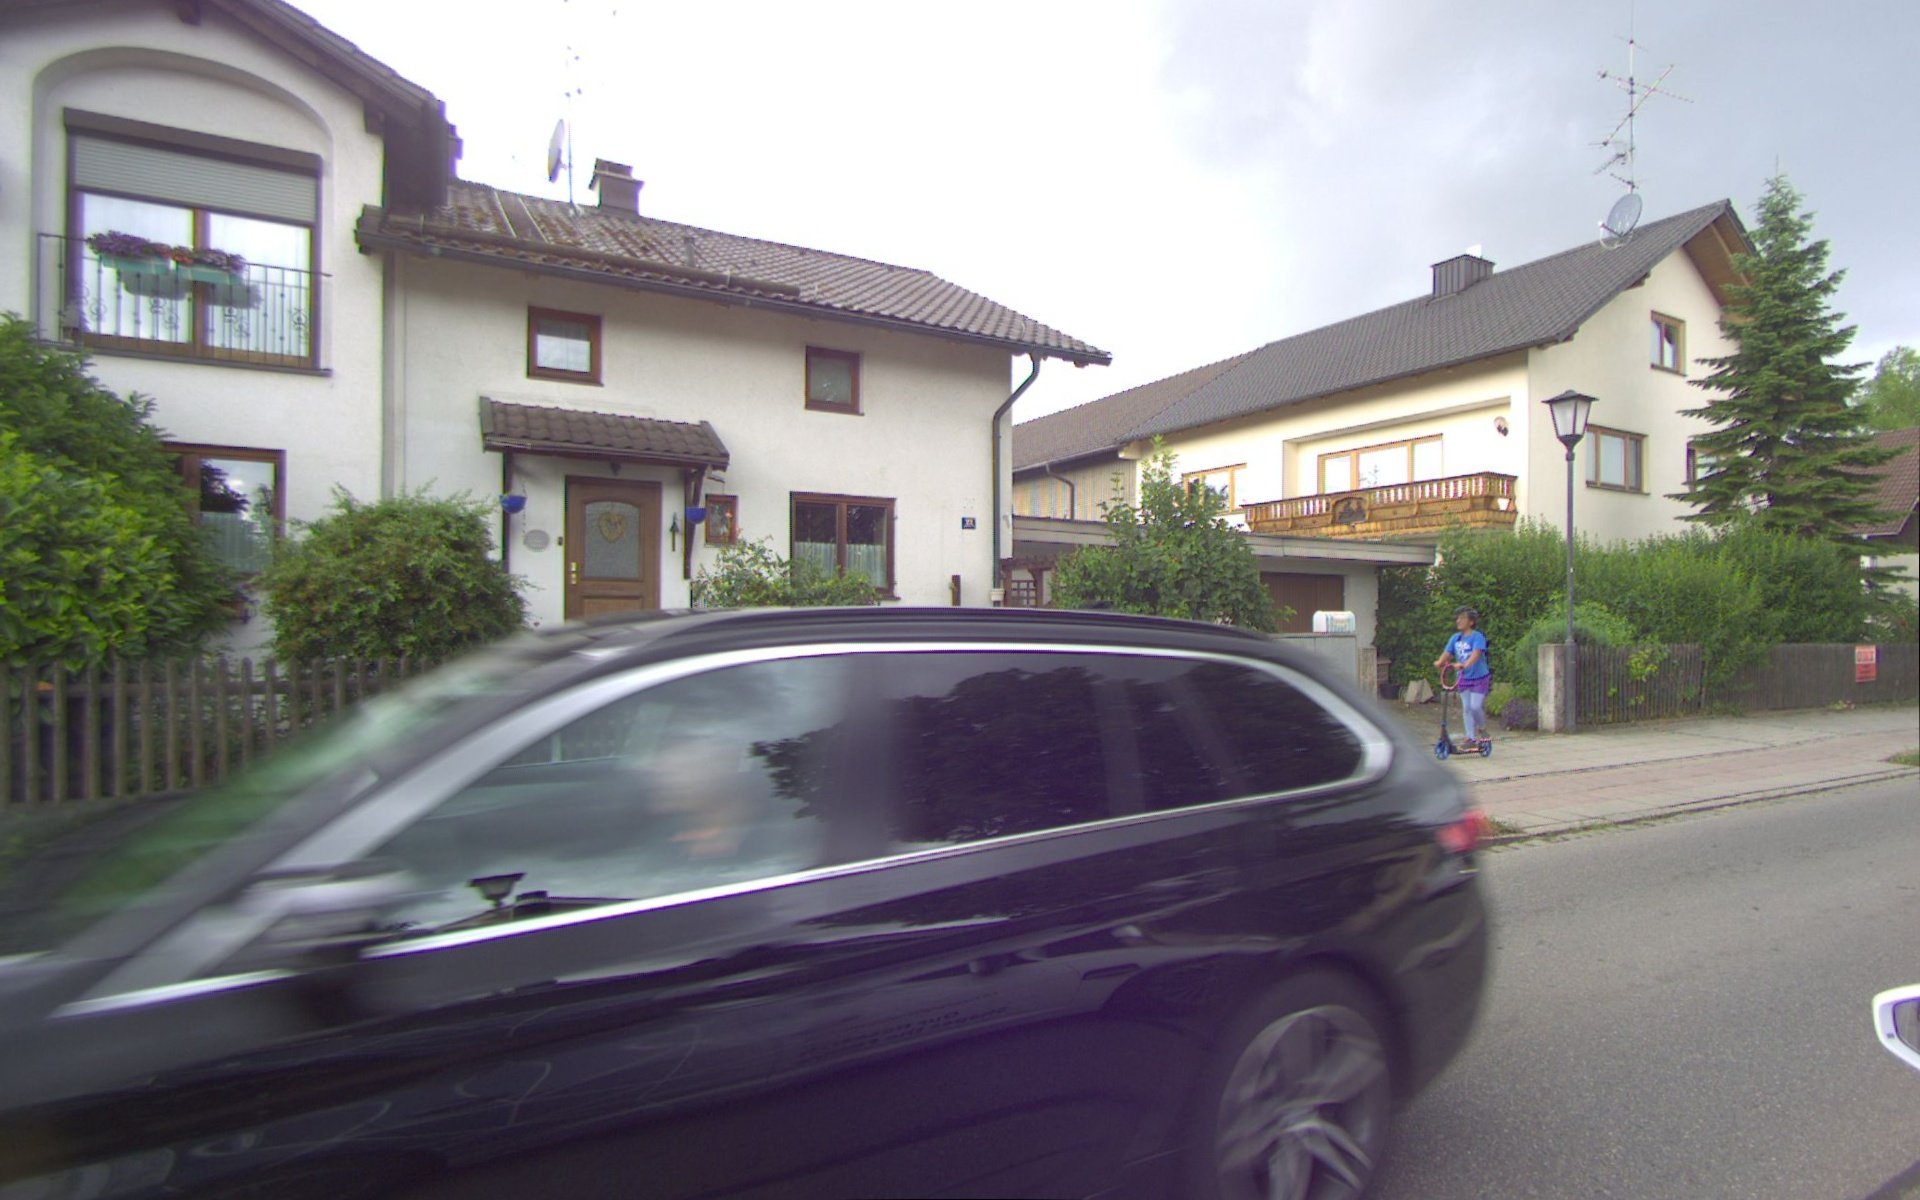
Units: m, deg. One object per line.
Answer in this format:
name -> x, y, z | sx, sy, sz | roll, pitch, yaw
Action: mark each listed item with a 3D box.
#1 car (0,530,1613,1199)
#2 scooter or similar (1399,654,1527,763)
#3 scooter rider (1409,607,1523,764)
car -> -0.578, 0.697, 2.447 | 4.495, 1.473, 1.838 | 2, -1, -30
scooter or similar -> 5.259, 1.102, 10.494 | 1.164, 1.051, 0.658 | 1, -1, -29
scooter rider -> 5.291, 0.867, 10.512 | 0.791, 1.545, 0.690 | 1, 1, -29
